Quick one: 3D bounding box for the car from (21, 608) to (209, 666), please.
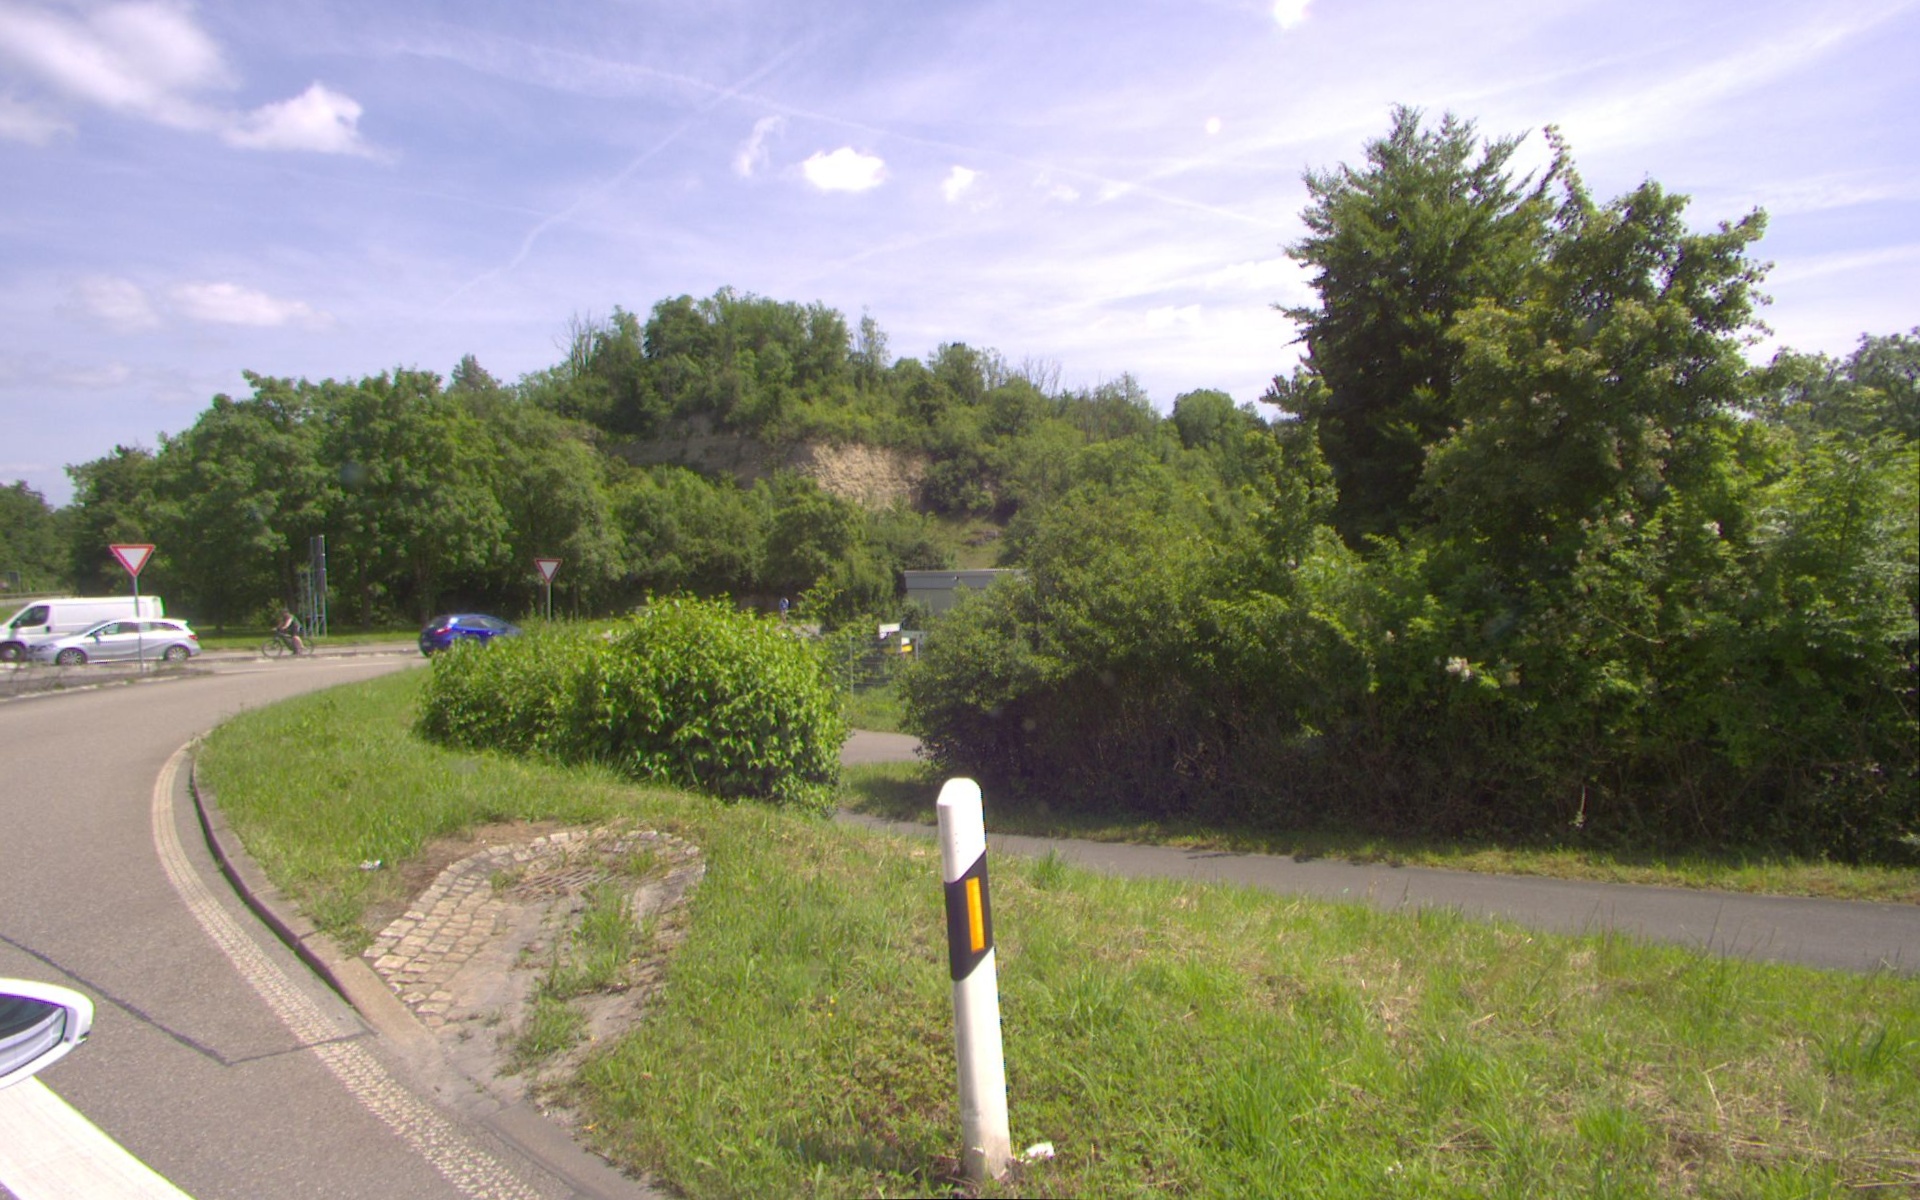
[{"bbox_3d":[-27.649,1.214,32.878,1.975,1.740,4.413,-3,-3,37],"label":"car"}]

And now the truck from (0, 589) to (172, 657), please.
[{"bbox_3d":[-32.022,0.817,36.368,5.088,2.324,1.991,0,-2,-31],"label":"truck"}]

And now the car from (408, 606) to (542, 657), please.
[{"bbox_3d":[-16.985,1.104,35.203,1.856,1.633,3.837,-3,-3,33],"label":"car"}]

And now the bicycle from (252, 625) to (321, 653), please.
[{"bbox_3d":[-24.711,1.425,36.770,0.785,1.008,1.987,-3,-2,29],"label":"bicycle"}]

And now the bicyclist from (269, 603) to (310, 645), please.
[{"bbox_3d":[-24.653,0.889,36.833,0.784,1.466,1.004,-3,-2,30],"label":"bicyclist"}]
